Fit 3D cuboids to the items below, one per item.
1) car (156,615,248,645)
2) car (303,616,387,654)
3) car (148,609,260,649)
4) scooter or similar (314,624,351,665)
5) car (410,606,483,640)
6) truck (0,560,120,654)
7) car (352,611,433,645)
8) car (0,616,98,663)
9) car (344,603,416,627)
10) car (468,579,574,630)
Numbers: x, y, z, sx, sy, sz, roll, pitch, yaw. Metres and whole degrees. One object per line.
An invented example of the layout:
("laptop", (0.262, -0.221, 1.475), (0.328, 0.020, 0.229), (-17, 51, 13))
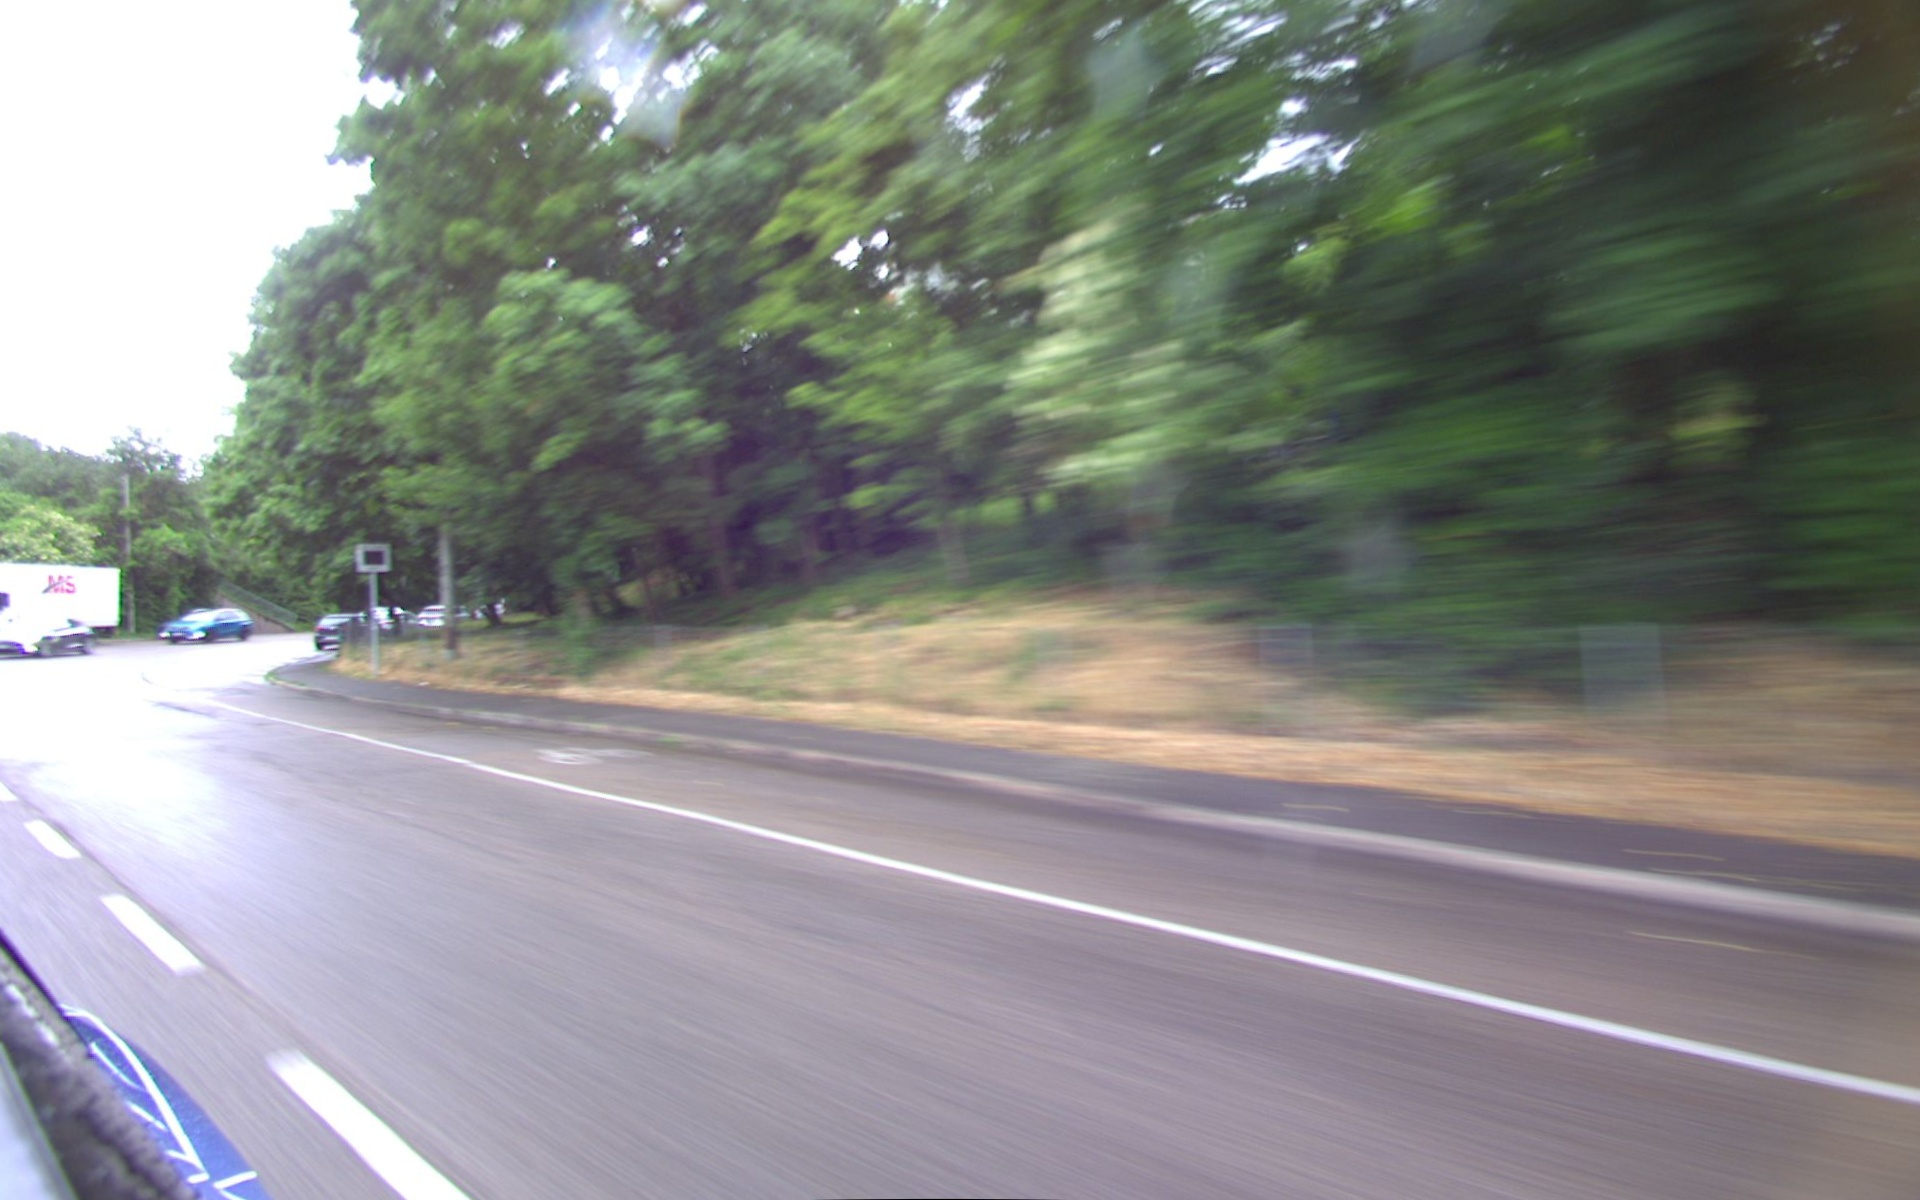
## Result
("car", (-39.922, 1.561, 53.414), (1.702, 1.455, 4.123), (-1, 0, 1))
("car", (-26.681, 1.486, 44.016), (1.750, 1.454, 4.024), (-1, 0, -9))
("car", (-35.892, 1.343, 48.198), (1.971, 1.682, 4.531), (-1, 1, -1))
("scooter or similar", (-21.282, 1.497, 34.354), (0.600, 1.277, 1.442), (-4, 2, -15))
("car", (-27.501, 1.208, 54.298), (1.785, 1.594, 4.024), (-1, 2, 1))
("truck", (-39.178, 0.318, 42.038), (2.967, 3.601, 8.355), (-1, 0, -11))
("car", (-27.444, 1.323, 49.059), (1.732, 1.467, 4.049), (0, 1, -1))
("car", (-33.138, 1.377, 36.178), (1.868, 1.551, 4.513), (-1, -1, -16))
("car", (-38.413, 0.969, 67.136), (1.745, 1.411, 4.074), (-3, -1, 16))
("car", (-26.363, 0.174, 61.071), (2.064, 2.566, 6.313), (11, 4, 16))
